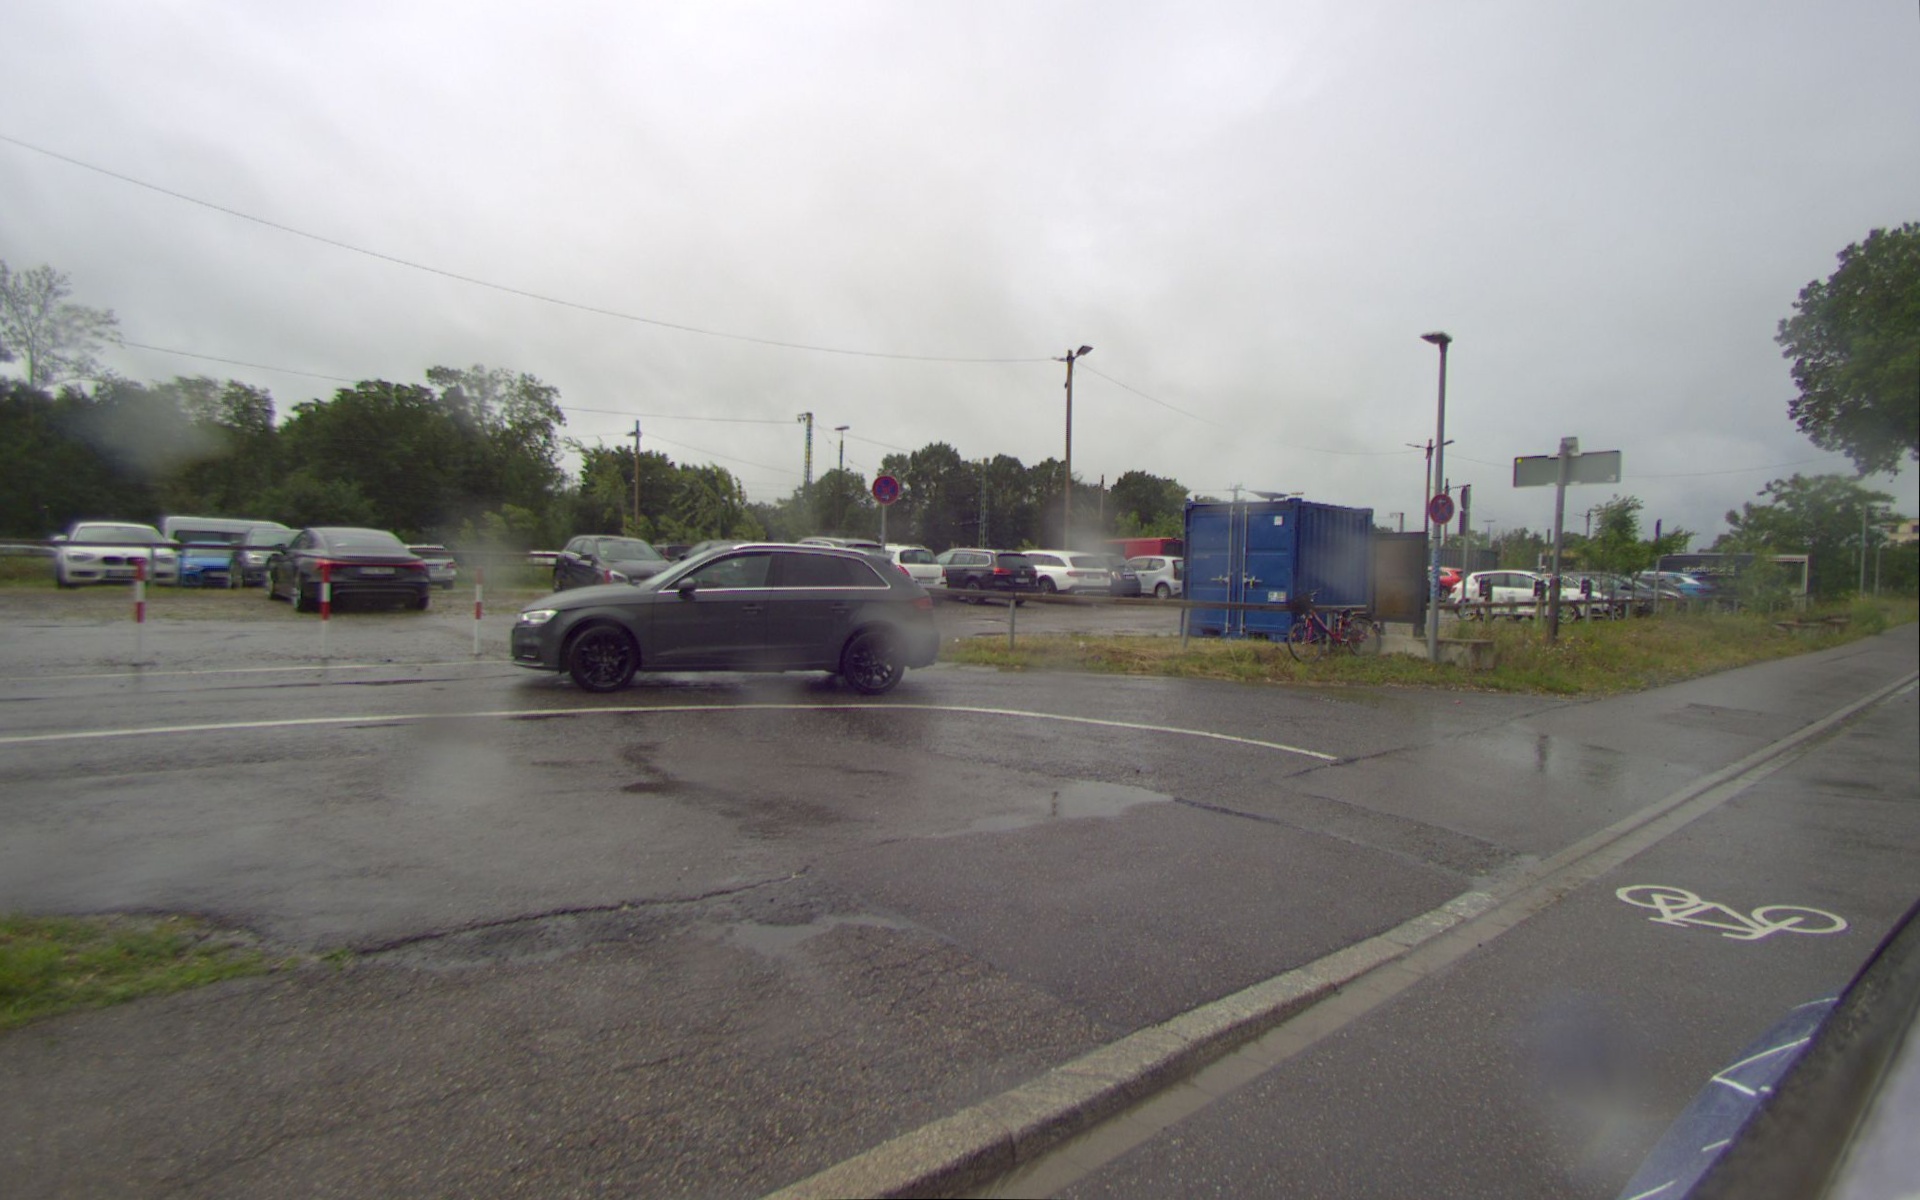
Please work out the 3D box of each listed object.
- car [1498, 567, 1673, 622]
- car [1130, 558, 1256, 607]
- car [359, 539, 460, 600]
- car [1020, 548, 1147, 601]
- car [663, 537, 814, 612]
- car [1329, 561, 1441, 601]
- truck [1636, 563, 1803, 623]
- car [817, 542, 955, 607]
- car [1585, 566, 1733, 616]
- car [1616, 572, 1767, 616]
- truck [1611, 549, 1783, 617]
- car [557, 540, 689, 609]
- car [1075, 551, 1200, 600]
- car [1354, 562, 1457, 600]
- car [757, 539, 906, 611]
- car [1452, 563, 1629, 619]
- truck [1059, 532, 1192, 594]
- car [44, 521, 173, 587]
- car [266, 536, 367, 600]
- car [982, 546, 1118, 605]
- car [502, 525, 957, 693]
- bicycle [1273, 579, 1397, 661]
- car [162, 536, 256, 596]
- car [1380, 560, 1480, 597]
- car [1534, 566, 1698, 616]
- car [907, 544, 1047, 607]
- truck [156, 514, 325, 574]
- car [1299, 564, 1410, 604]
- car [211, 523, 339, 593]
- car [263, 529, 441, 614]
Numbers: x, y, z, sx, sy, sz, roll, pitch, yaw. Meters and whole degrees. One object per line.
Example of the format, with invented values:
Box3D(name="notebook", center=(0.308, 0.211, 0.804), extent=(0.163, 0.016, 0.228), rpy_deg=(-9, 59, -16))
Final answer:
Box3D(name="car", center=(17.761, -0.210, 28.848), extent=(1.874, 1.440, 3.900), rpy_deg=(-1, 2, -43))
Box3D(name="car", center=(8.047, -0.657, 35.256), extent=(1.853, 1.444, 3.964), rpy_deg=(-1, 4, -38))
Box3D(name="car", center=(-18.239, -1.043, 33.462), extent=(1.967, 1.853, 3.992), rpy_deg=(0, 3, -43))
Box3D(name="car", center=(3.914, -0.866, 32.574), extent=(1.746, 1.507, 3.964), rpy_deg=(-1, 4, -38))
Box3D(name="car", center=(-5.166, -0.644, 23.222), extent=(1.836, 1.507, 3.964), rpy_deg=(-1, 4, -38))
Box3D(name="car", center=(18.640, -0.860, 44.531), extent=(1.891, 1.508, 4.078), rpy_deg=(-1, 4, -38))
Box3D(name="truck", center=(32.090, -0.363, 42.927), extent=(2.038, 2.352, 5.340), rpy_deg=(0, 2, -40))
Box3D(name="car", center=(-2.056, -0.739, 27.080), extent=(1.746, 1.507, 3.964), rpy_deg=(-1, 4, -38))
Box3D(name="car", center=(24.077, -0.366, 34.953), extent=(1.865, 1.614, 3.900), rpy_deg=(-1, 2, -43))
Box3D(name="car", center=(26.380, -0.264, 36.582), extent=(1.832, 1.437, 4.164), rpy_deg=(-1, 2, -43))
Box3D(name="truck", center=(28.259, -0.692, 38.939), extent=(2.075, 2.432, 5.039), rpy_deg=(0, 2, -43))
Box3D(name="car", center=(-7.227, -0.597, 21.477), extent=(1.617, 1.235, 3.903), rpy_deg=(-1, 4, -35))
Box3D(name="car", center=(5.972, -0.888, 34.401), extent=(1.853, 1.444, 3.964), rpy_deg=(-1, 4, -38))
Box3D(name="car", center=(20.486, -0.915, 46.658), extent=(1.676, 1.497, 3.964), rpy_deg=(-1, 4, -38))
Box3D(name="car", center=(-3.233, -0.666, 24.782), extent=(1.836, 1.507, 3.964), rpy_deg=(-1, 4, -38))
Box3D(name="car", center=(15.665, -0.291, 27.412), extent=(1.874, 1.410, 3.776), rpy_deg=(-1, 2, -43))
Box3D(name="truck", center=(6.795, -1.584, 42.067), extent=(2.115, 2.396, 5.300), rpy_deg=(0, 3, -41))
Box3D(name="car", center=(-16.911, -0.955, 20.044), extent=(1.801, 1.084, 4.068), rpy_deg=(-2, 6, -42))
Box3D(name="car", center=(-20.223, -1.033, 31.732), extent=(1.967, 1.853, 3.992), rpy_deg=(0, 3, -43))
Box3D(name="car", center=(2.585, -0.780, 29.816), extent=(1.746, 1.507, 3.964), rpy_deg=(-1, 4, -38))
Box3D(name="car", center=(-2.298, 0.070, 10.456), extent=(4.138, 1.474, 1.906), rpy_deg=(2, 3, -15))
Box3D(name="bicycle", center=(5.281, 0.276, 14.243), extent=(1.667, 1.097, 0.510), rpy_deg=(1, 2, -20))
Box3D(name="car", center=(-22.479, -1.042, 30.236), extent=(1.782, 1.664, 4.193), rpy_deg=(0, 3, -43))
Box3D(name="car", center=(22.599, -1.071, 48.736), extent=(1.774, 1.555, 3.964), rpy_deg=(-1, 4, -38))
Box3D(name="car", center=(20.033, -0.323, 31.010), extent=(1.749, 1.440, 3.900), rpy_deg=(-1, 2, -43))
Box3D(name="car", center=(0.405, -0.732, 27.937), extent=(1.746, 1.507, 3.964), rpy_deg=(-1, 4, -38))
Box3D(name="truck", center=(-27.717, -2.141, 39.097), extent=(5.184, 2.038, 2.087), rpy_deg=(1, 2, -40))
Box3D(name="car", center=(16.572, -0.693, 42.632), extent=(1.788, 1.444, 3.964), rpy_deg=(-1, 4, -38))
Box3D(name="car", center=(-14.816, -0.910, 21.806), extent=(1.726, 1.348, 3.993), rpy_deg=(0, 3, -43))
Box3D(name="car", center=(-10.895, -0.584, 17.974), extent=(1.944, 1.235, 4.597), rpy_deg=(-1, 5, -41))
